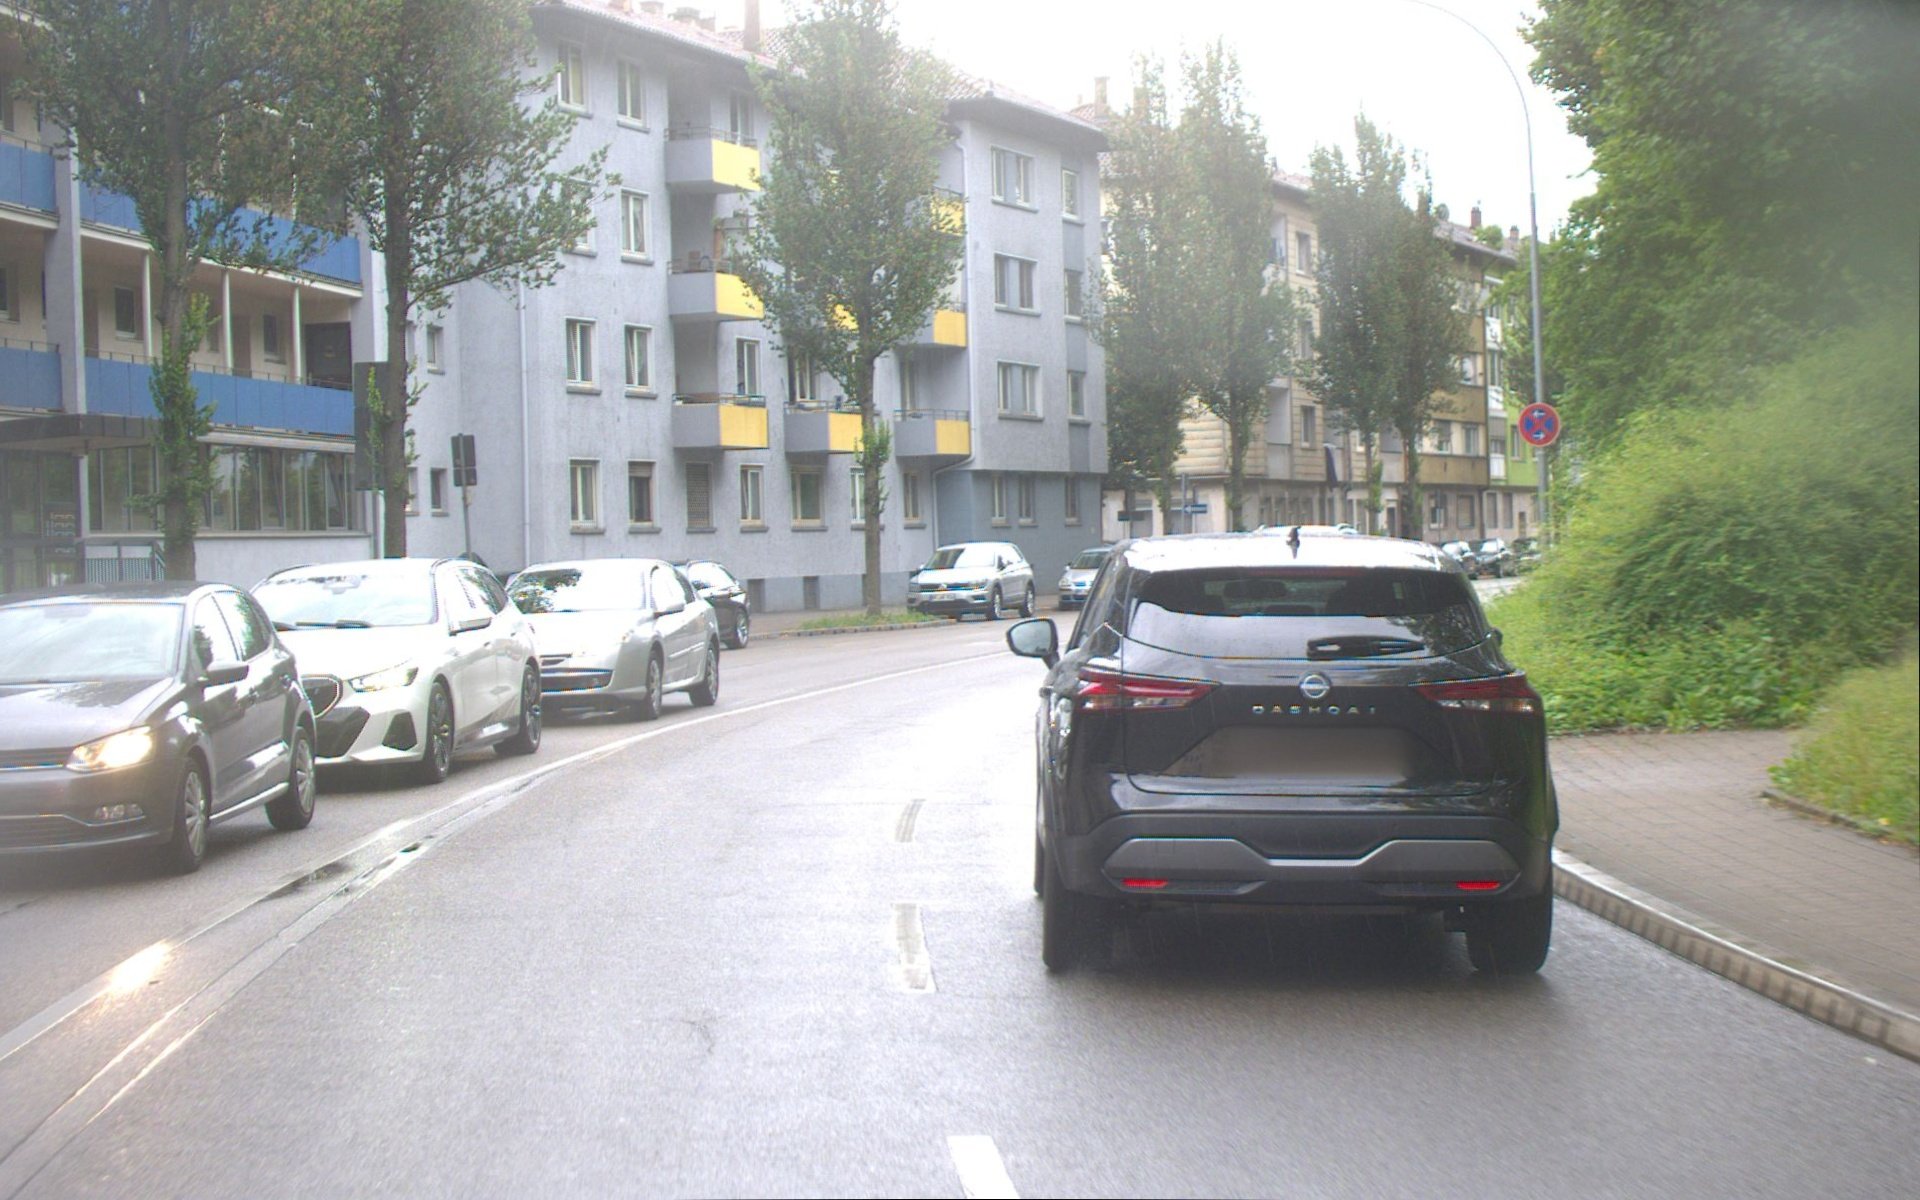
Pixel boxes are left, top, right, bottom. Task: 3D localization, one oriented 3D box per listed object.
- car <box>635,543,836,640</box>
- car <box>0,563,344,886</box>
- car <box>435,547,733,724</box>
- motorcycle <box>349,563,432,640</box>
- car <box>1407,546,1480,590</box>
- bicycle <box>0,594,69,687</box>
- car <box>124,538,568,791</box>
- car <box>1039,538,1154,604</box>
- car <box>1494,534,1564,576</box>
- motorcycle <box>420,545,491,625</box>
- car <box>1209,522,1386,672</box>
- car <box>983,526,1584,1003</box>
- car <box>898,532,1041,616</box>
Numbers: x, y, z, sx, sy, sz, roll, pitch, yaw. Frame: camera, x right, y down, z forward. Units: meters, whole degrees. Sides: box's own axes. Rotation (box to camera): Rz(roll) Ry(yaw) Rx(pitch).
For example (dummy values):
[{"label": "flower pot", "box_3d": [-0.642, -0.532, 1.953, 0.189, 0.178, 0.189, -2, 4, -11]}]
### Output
[{"label": "car", "box_3d": [-3.690, -0.171, 57.467, 1.822, 1.434, 4.889, -3, 0, 15]}, {"label": "car", "box_3d": [-4.483, 0.582, 17.970, 1.680, 1.442, 3.820, -3, 1, 1]}, {"label": "car", "box_3d": [-3.364, 0.272, 31.622, 1.753, 1.420, 4.536, -2, 1, 6]}, {"label": "motorcycle", "box_3d": [-9.657, 0.019, 58.352, 0.675, 1.249, 2.235, 1, 1, 10]}, {"label": "car", "box_3d": [16.807, -1.108, 119.385, 1.627, 1.382, 3.984, -2, 1, 21]}, {"label": "bicycle", "box_3d": [-10.940, 0.463, 40.218, 0.612, 1.020, 1.734, -2, 1, -2]}, {"label": "car", "box_3d": [-4.209, 0.369, 24.429, 1.820, 1.511, 5.028, -3, 1, 5]}, {"label": "car", "box_3d": [3.274, -0.702, 81.708, 1.725, 1.448, 4.202, -2, 1, 16]}, {"label": "car", "box_3d": [22.181, -1.759, 133.921, 1.720, 1.483, 4.510, -3, 1, 21]}, {"label": "motorcycle", "box_3d": [-9.165, -0.283, 62.511, 0.675, 1.409, 2.236, 1, 1, 8]}, {"label": "car", "box_3d": [4.138, -0.073, 41.655, 1.887, 1.705, 3.999, -1, 1, 9]}, {"label": "car", "box_3d": [1.115, 0.513, 13.644, 1.844, 1.577, 4.001, -1, 2, -2]}, {"label": "car", "box_3d": [0.246, -0.556, 71.461, 1.765, 1.598, 4.530, -2, 1, 16]}]
